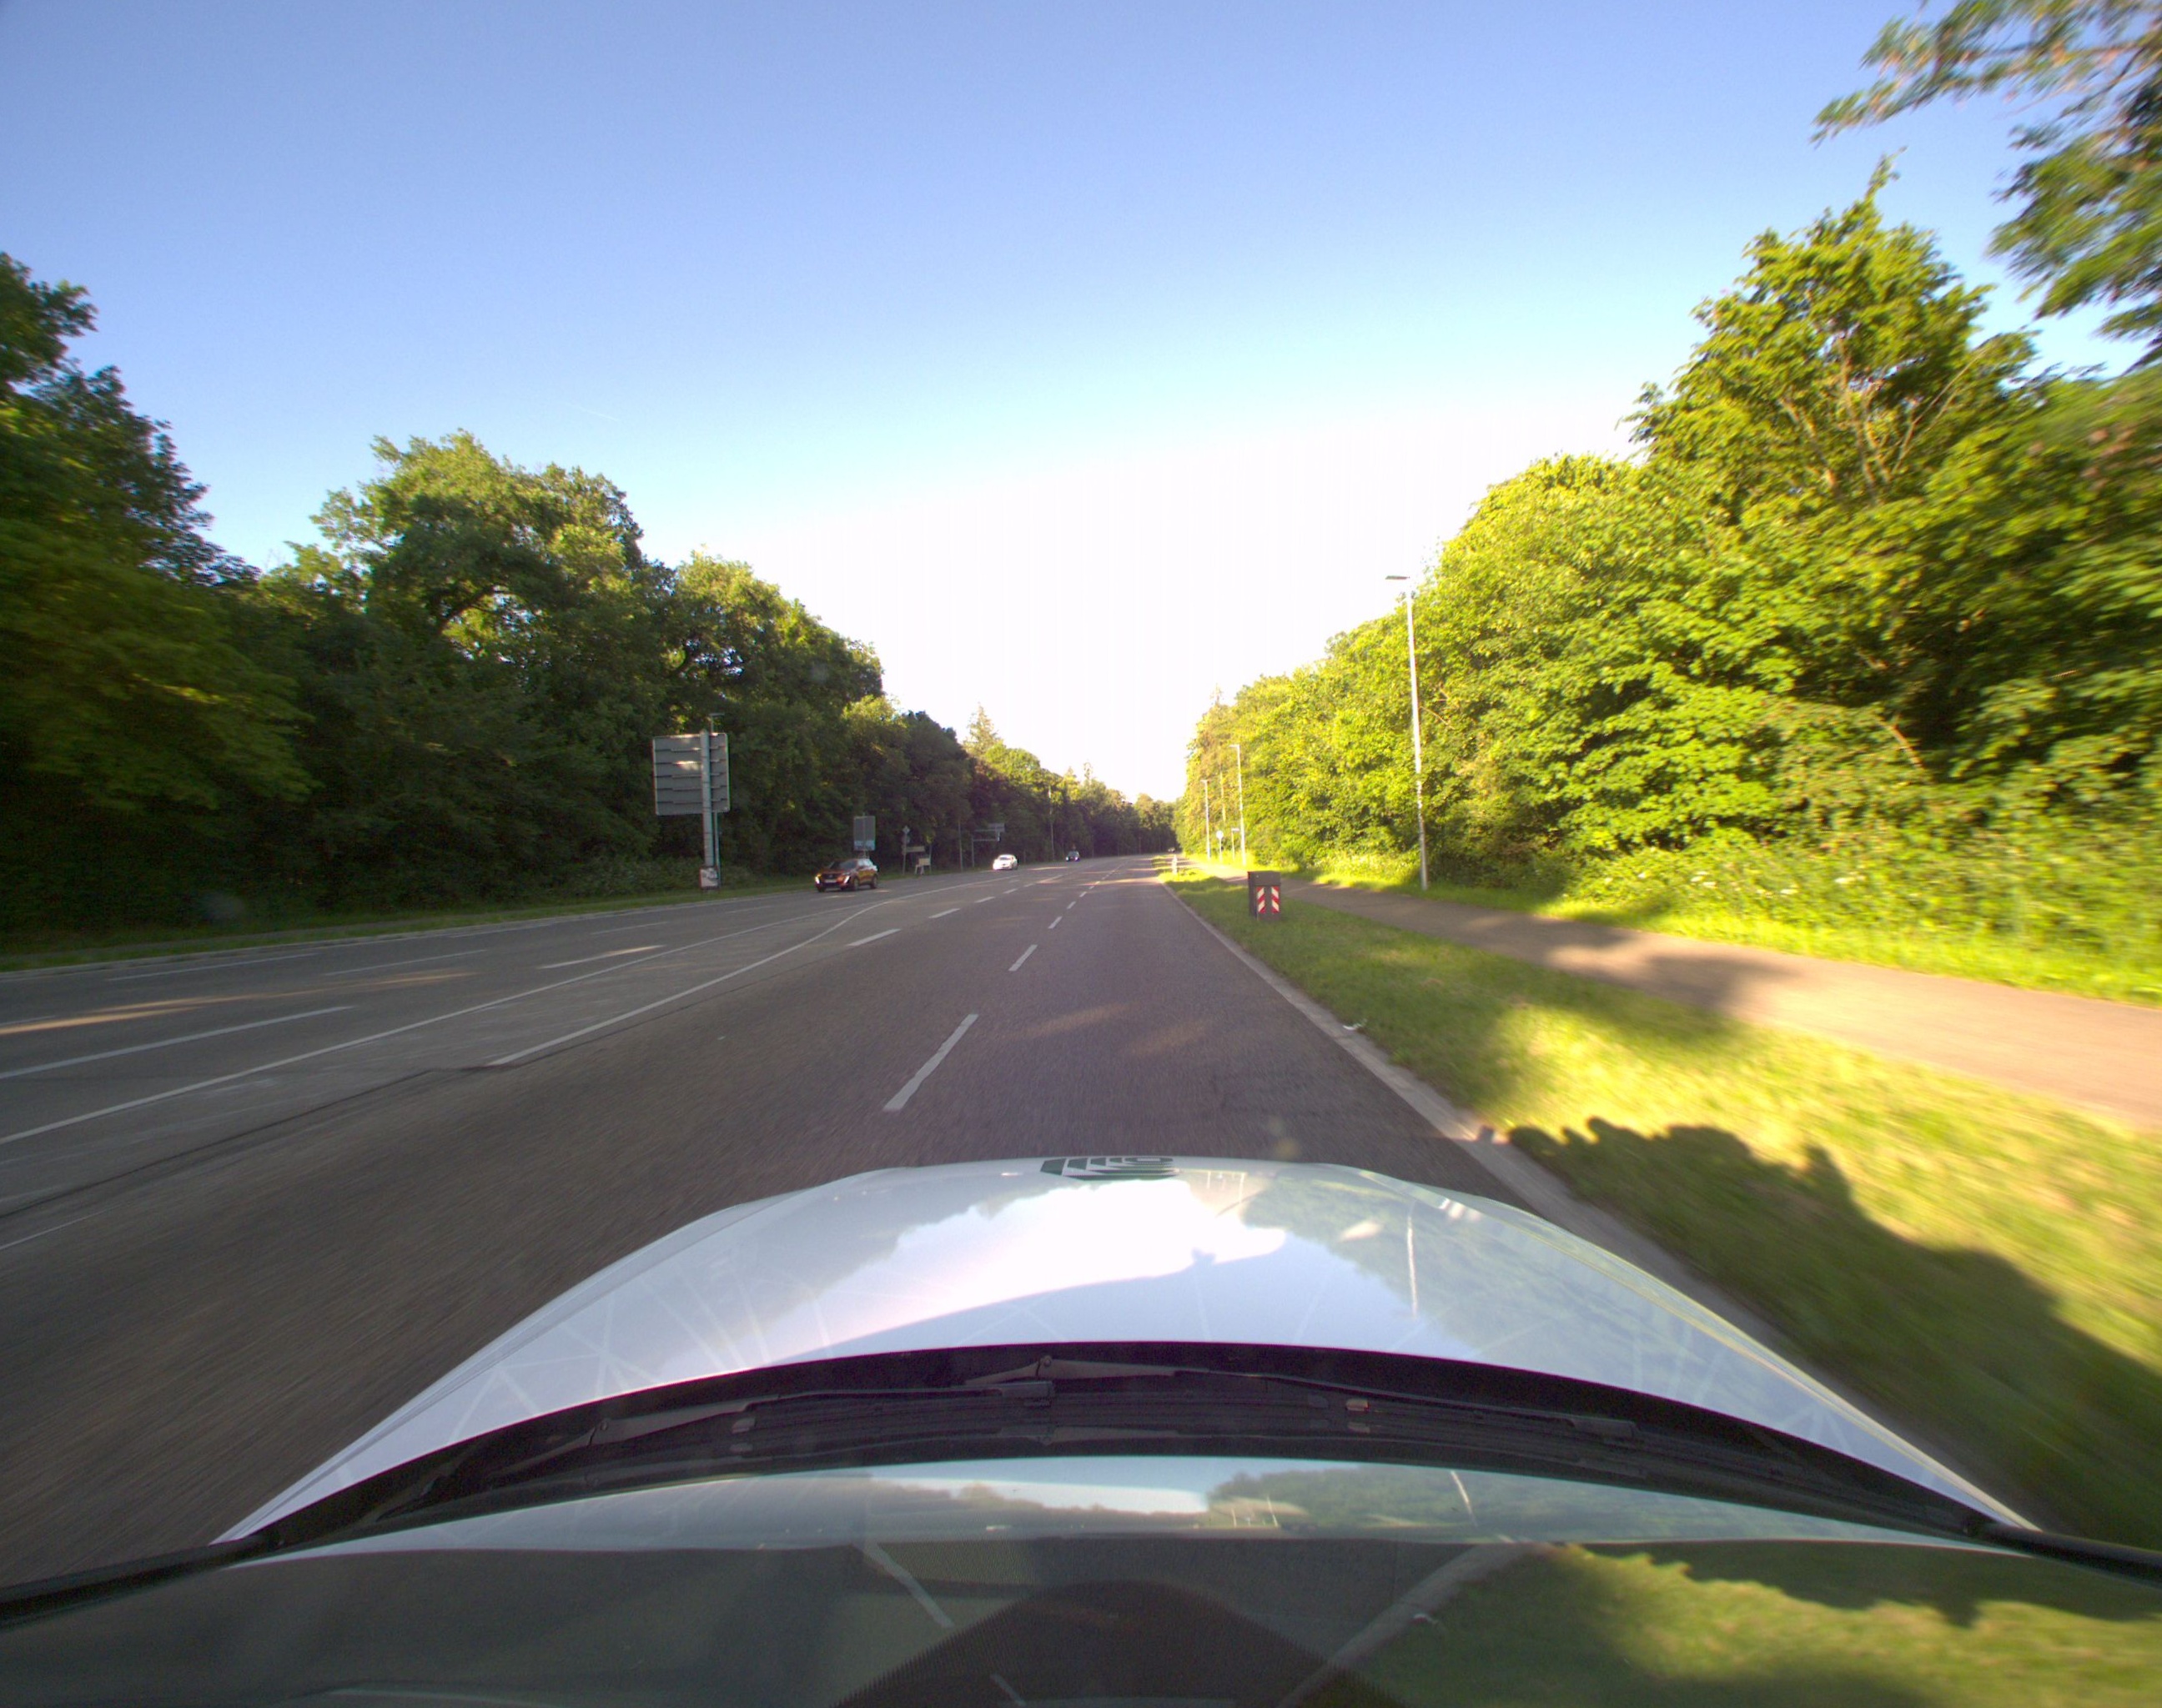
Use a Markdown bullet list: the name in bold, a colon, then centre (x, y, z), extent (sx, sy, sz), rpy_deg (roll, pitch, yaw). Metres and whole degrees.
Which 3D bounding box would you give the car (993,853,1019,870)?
- **car**: centre (-7.271, 0.706, 79.525), extent (1.816, 1.504, 4.312), rpy_deg (-2, 0, 5)

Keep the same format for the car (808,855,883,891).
- **car**: centre (-10.922, 0.849, 38.147), extent (1.815, 1.544, 4.264), rpy_deg (-2, 0, 6)

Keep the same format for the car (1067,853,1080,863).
- **car**: centre (-1.213, 0.675, 133.956), extent (1.816, 1.589, 4.357), rpy_deg (-1, 0, 5)
